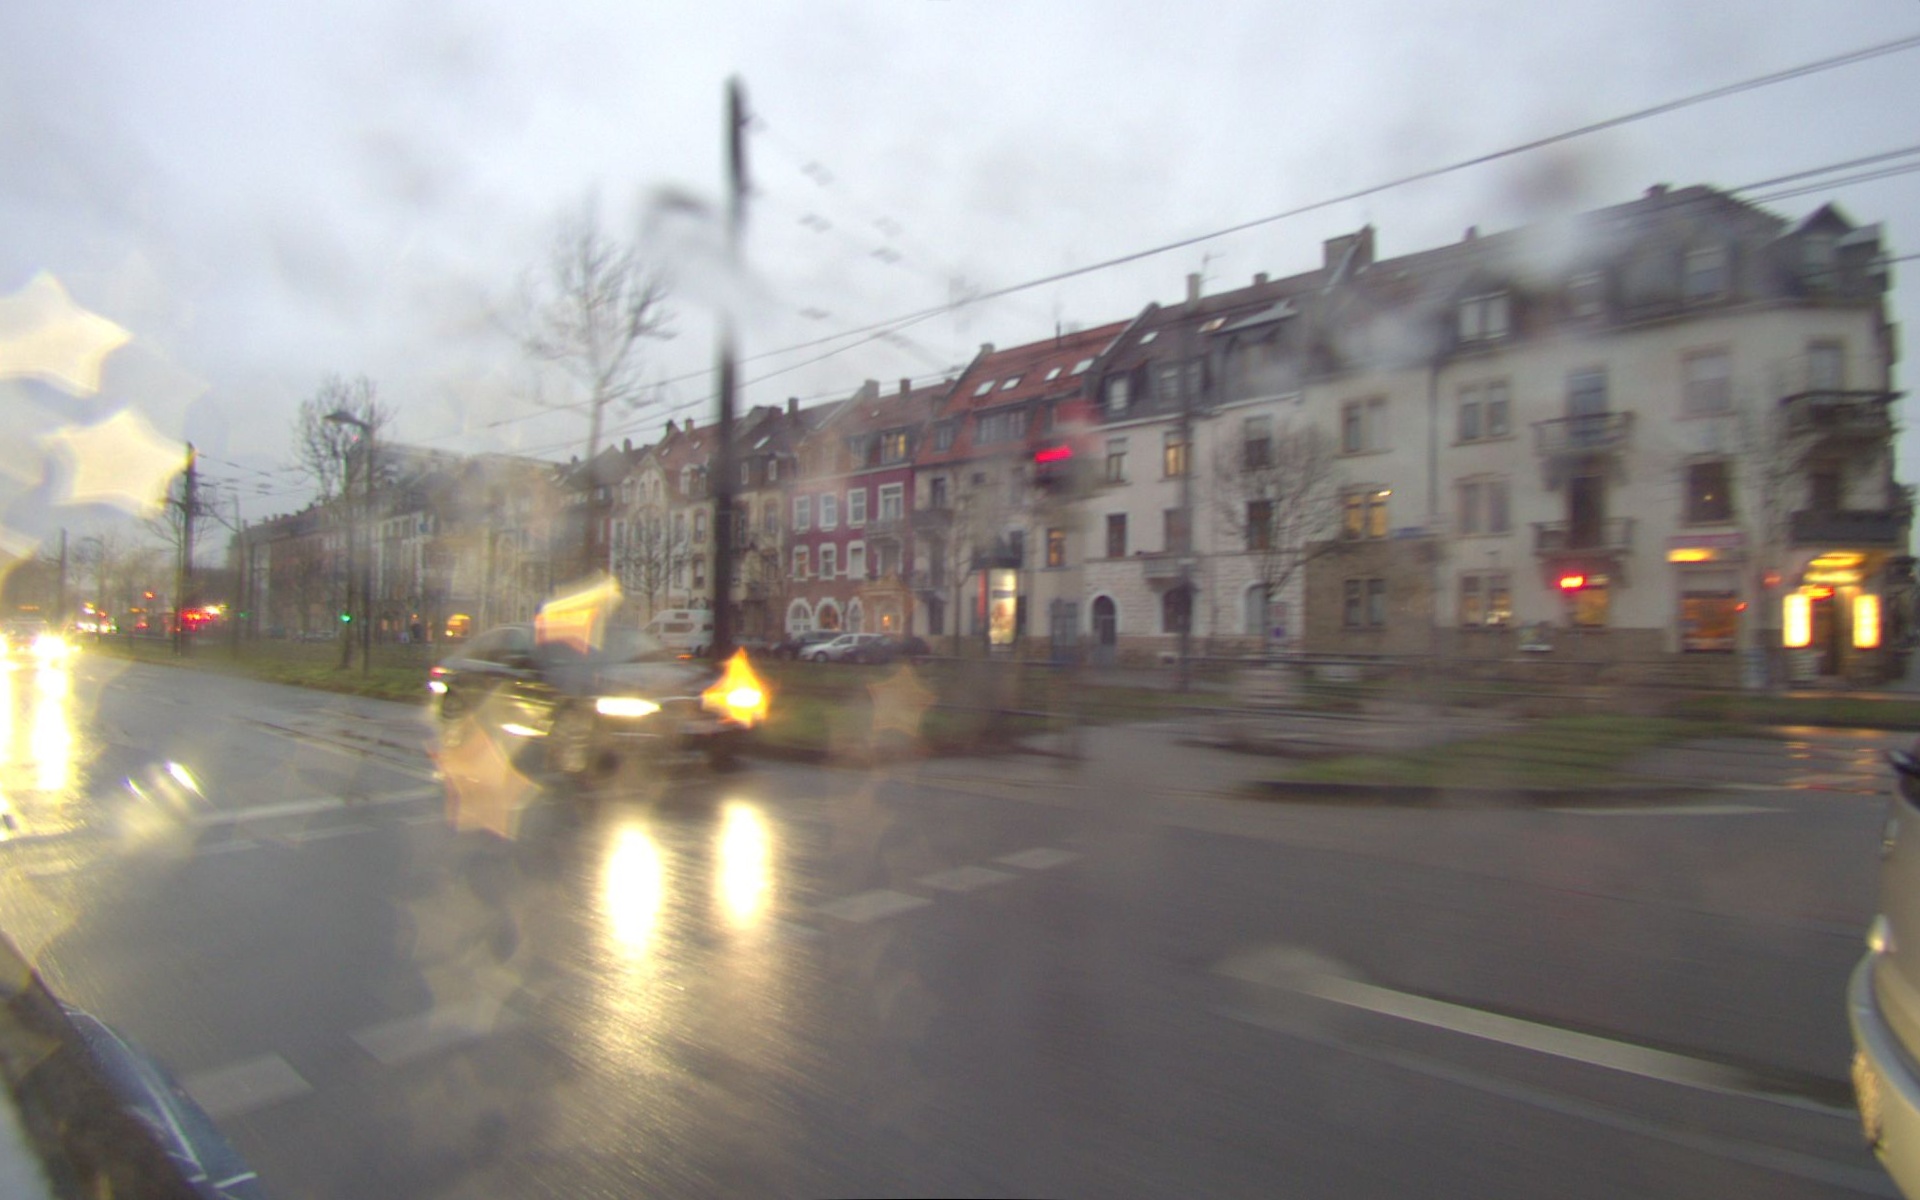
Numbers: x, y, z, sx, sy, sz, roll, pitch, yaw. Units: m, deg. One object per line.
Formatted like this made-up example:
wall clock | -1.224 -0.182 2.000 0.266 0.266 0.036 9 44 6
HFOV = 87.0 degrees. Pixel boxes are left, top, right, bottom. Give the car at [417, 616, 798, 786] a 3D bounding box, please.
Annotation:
car | -3.971 0.910 10.903 4.824 1.441 1.790 -1 -2 42

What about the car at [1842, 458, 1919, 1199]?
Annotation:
car | 3.625 0.543 0.974 4.048 1.612 1.792 -1 -1 38

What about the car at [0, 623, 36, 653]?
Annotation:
car | -57.234 2.281 60.955 4.001 1.769 1.971 -2 -4 44

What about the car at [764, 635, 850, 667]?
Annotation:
car | -7.376 2.444 48.720 3.934 1.497 2.005 1 -2 -12

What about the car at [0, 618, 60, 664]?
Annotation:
car | -33.069 1.416 35.608 4.055 1.508 1.789 -1 -2 44

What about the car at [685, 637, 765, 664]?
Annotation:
car | -12.356 2.636 53.367 3.936 1.342 2.004 1 -2 -8

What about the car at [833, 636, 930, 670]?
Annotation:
car | -3.391 2.261 43.305 3.936 1.342 2.004 1 -2 -8

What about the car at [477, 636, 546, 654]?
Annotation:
car | -31.027 3.094 70.113 3.937 1.178 2.003 1 -2 -8

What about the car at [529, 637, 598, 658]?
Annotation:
car | -26.294 3.170 67.299 3.935 1.342 2.004 1 -2 -10

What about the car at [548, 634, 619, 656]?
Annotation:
car | -24.046 2.867 64.769 3.934 1.342 2.004 1 -2 -11

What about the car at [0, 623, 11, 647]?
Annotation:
car | -73.514 2.628 76.778 4.001 1.769 1.971 -2 -4 44

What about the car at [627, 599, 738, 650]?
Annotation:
car | -15.706 1.413 57.531 5.779 2.819 2.002 1 -2 -4

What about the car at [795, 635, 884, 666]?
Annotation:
car | -5.534 2.305 46.166 3.936 1.342 2.004 1 -2 -8
